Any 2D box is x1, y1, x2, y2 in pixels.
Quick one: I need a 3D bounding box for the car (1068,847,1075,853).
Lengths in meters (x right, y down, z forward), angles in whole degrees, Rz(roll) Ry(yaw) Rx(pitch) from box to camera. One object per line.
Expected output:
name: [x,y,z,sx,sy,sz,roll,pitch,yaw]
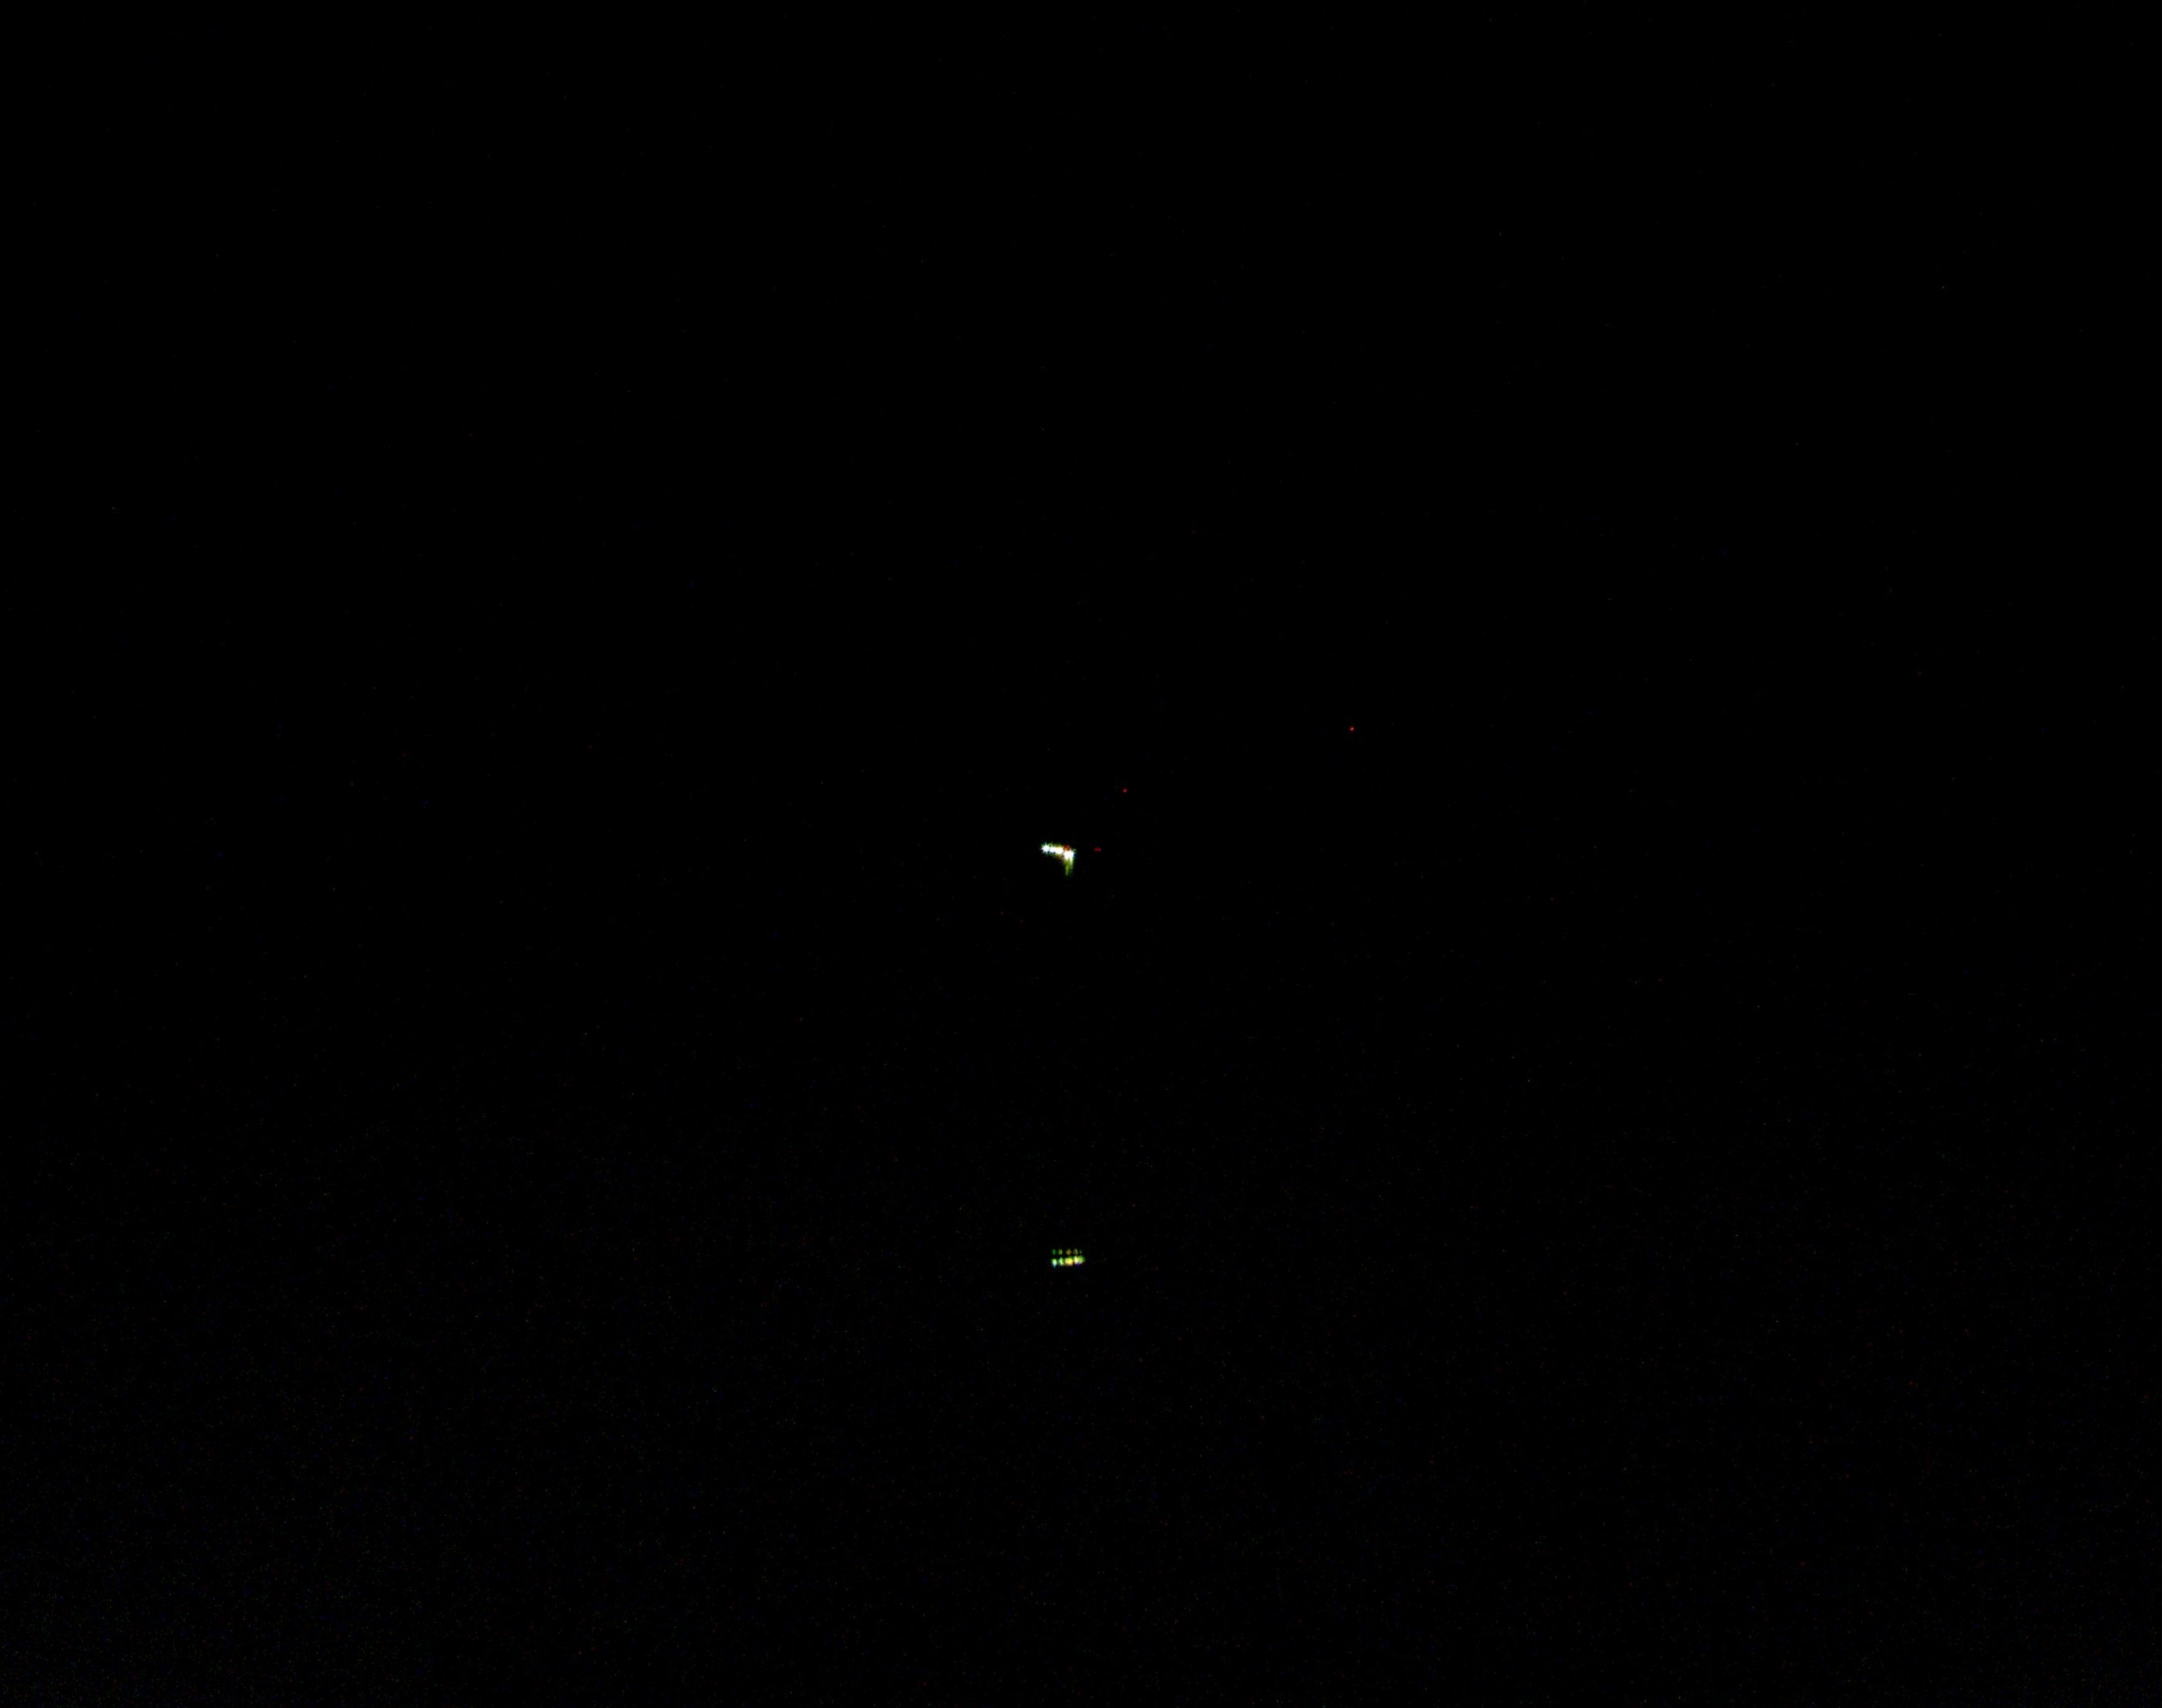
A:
car: [-3.143,-1.325,251.537,1.860,1.609,3.998,-1,1,-3]
